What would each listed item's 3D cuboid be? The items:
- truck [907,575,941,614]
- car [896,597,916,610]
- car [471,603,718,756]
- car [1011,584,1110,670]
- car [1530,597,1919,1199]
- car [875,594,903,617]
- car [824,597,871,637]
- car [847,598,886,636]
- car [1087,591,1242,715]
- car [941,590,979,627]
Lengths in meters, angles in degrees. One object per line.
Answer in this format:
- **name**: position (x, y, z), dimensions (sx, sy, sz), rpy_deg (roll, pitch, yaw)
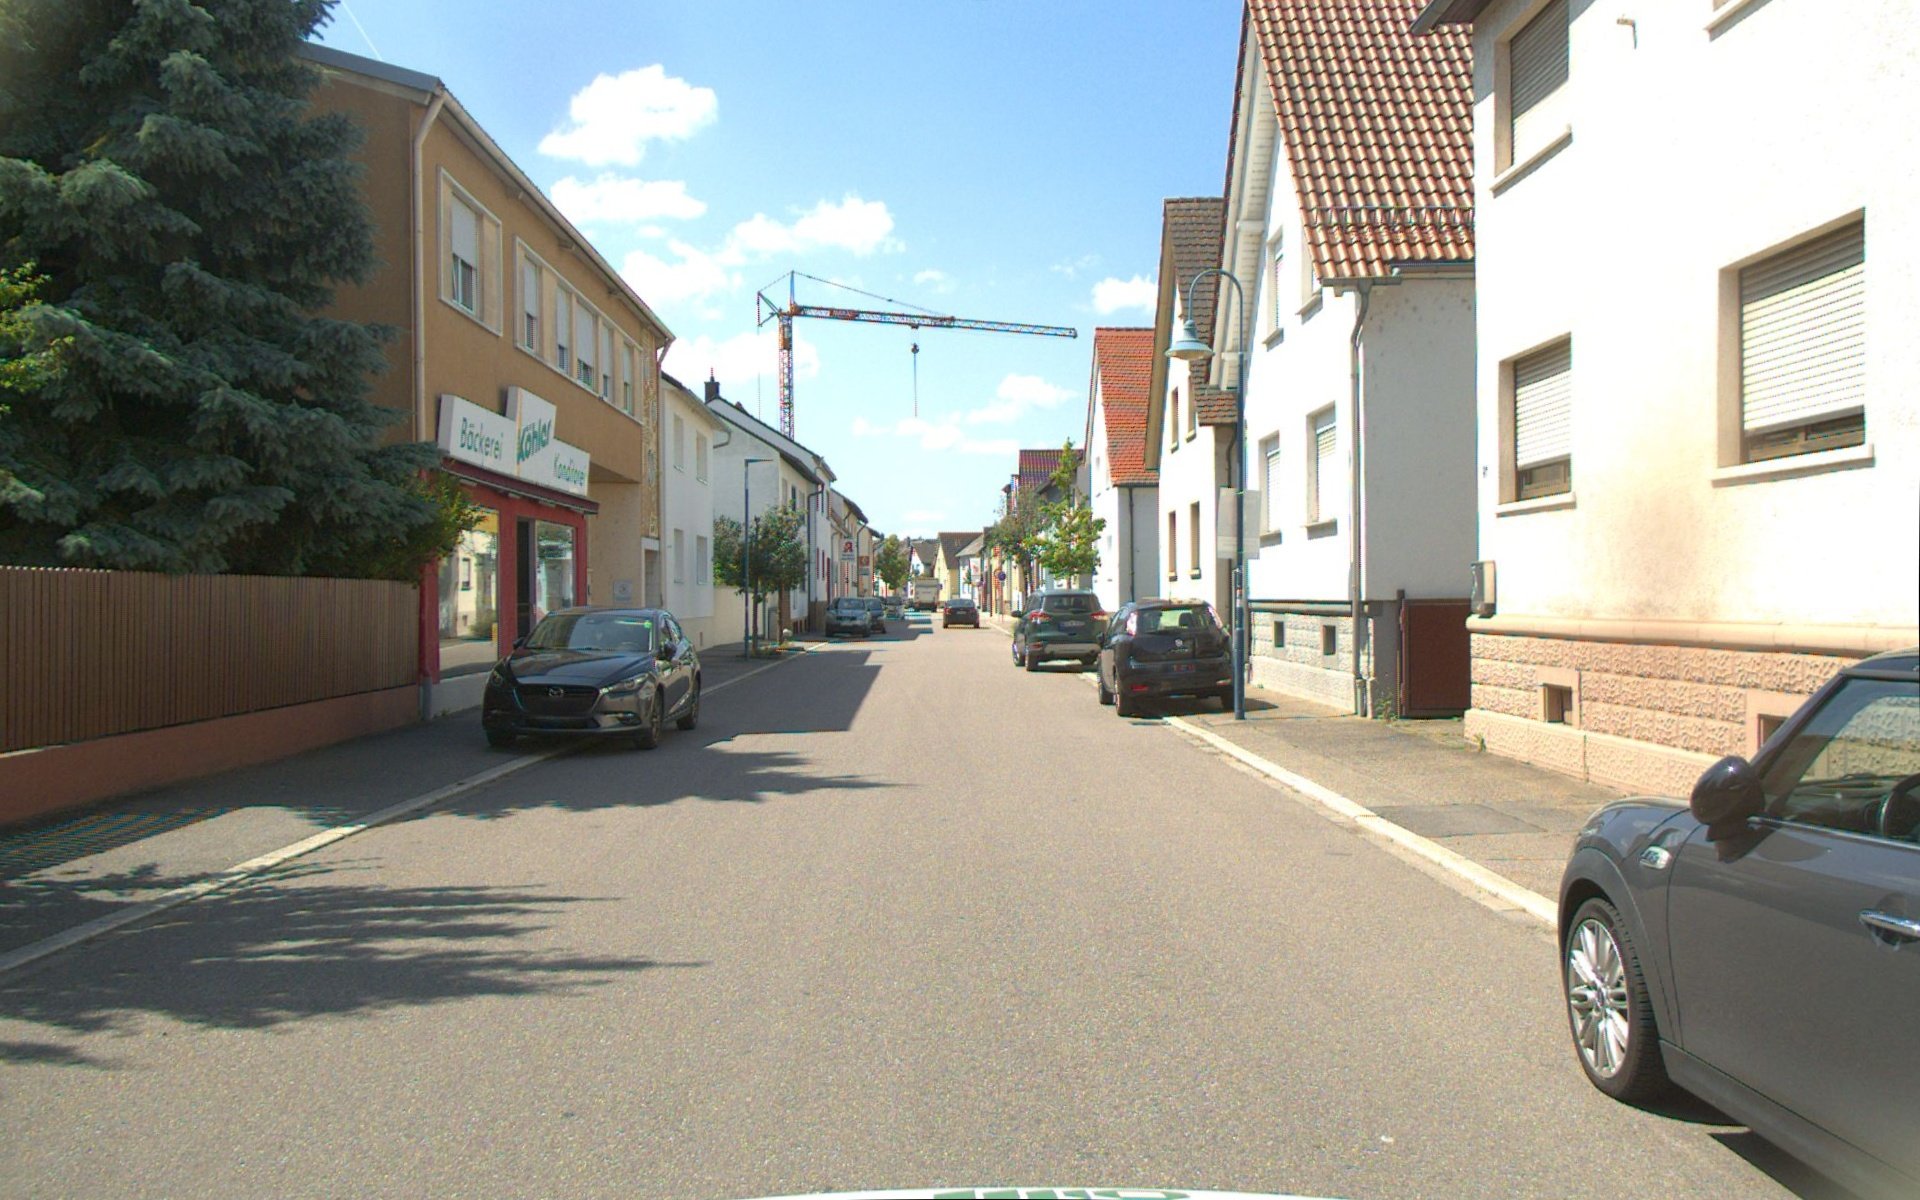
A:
- **truck**: position (-3.983, -0.528, 180.139), dimensions (3.311, 3.933, 13.919), rpy_deg (-2, 0, -2)
- **car**: position (-7.534, 0.472, 230.376), dimensions (1.792, 1.784, 4.209), rpy_deg (-1, 0, -16)
- **car**: position (-3.940, 0.789, 18.578), dimensions (1.732, 1.485, 4.437), rpy_deg (0, 0, 1)
- **car**: position (2.142, 0.558, 36.257), dimensions (1.694, 1.747, 4.273), rpy_deg (-1, 0, -3)
- **car**: position (2.820, 0.725, 3.876), dimensions (1.654, 1.447, 3.656), rpy_deg (-1, 0, -1)
- **car**: position (-4.877, 0.373, 114.033), dimensions (1.688, 1.583, 4.172), rpy_deg (1, 0, 0)
- **car**: position (-4.575, 0.671, 67.910), dimensions (1.723, 1.551, 4.288), rpy_deg (-1, 0, -1)
- **car**: position (-4.204, 0.735, 74.688), dimensions (1.620, 1.637, 4.060), rpy_deg (-1, 0, -1)
- **car**: position (2.826, 0.686, 23.624), dimensions (1.584, 1.522, 3.971), rpy_deg (-3, 0, -1)
- **car**: position (-0.041, 0.439, 83.506), dimensions (1.747, 1.784, 3.998), rpy_deg (-2, 0, -2)
